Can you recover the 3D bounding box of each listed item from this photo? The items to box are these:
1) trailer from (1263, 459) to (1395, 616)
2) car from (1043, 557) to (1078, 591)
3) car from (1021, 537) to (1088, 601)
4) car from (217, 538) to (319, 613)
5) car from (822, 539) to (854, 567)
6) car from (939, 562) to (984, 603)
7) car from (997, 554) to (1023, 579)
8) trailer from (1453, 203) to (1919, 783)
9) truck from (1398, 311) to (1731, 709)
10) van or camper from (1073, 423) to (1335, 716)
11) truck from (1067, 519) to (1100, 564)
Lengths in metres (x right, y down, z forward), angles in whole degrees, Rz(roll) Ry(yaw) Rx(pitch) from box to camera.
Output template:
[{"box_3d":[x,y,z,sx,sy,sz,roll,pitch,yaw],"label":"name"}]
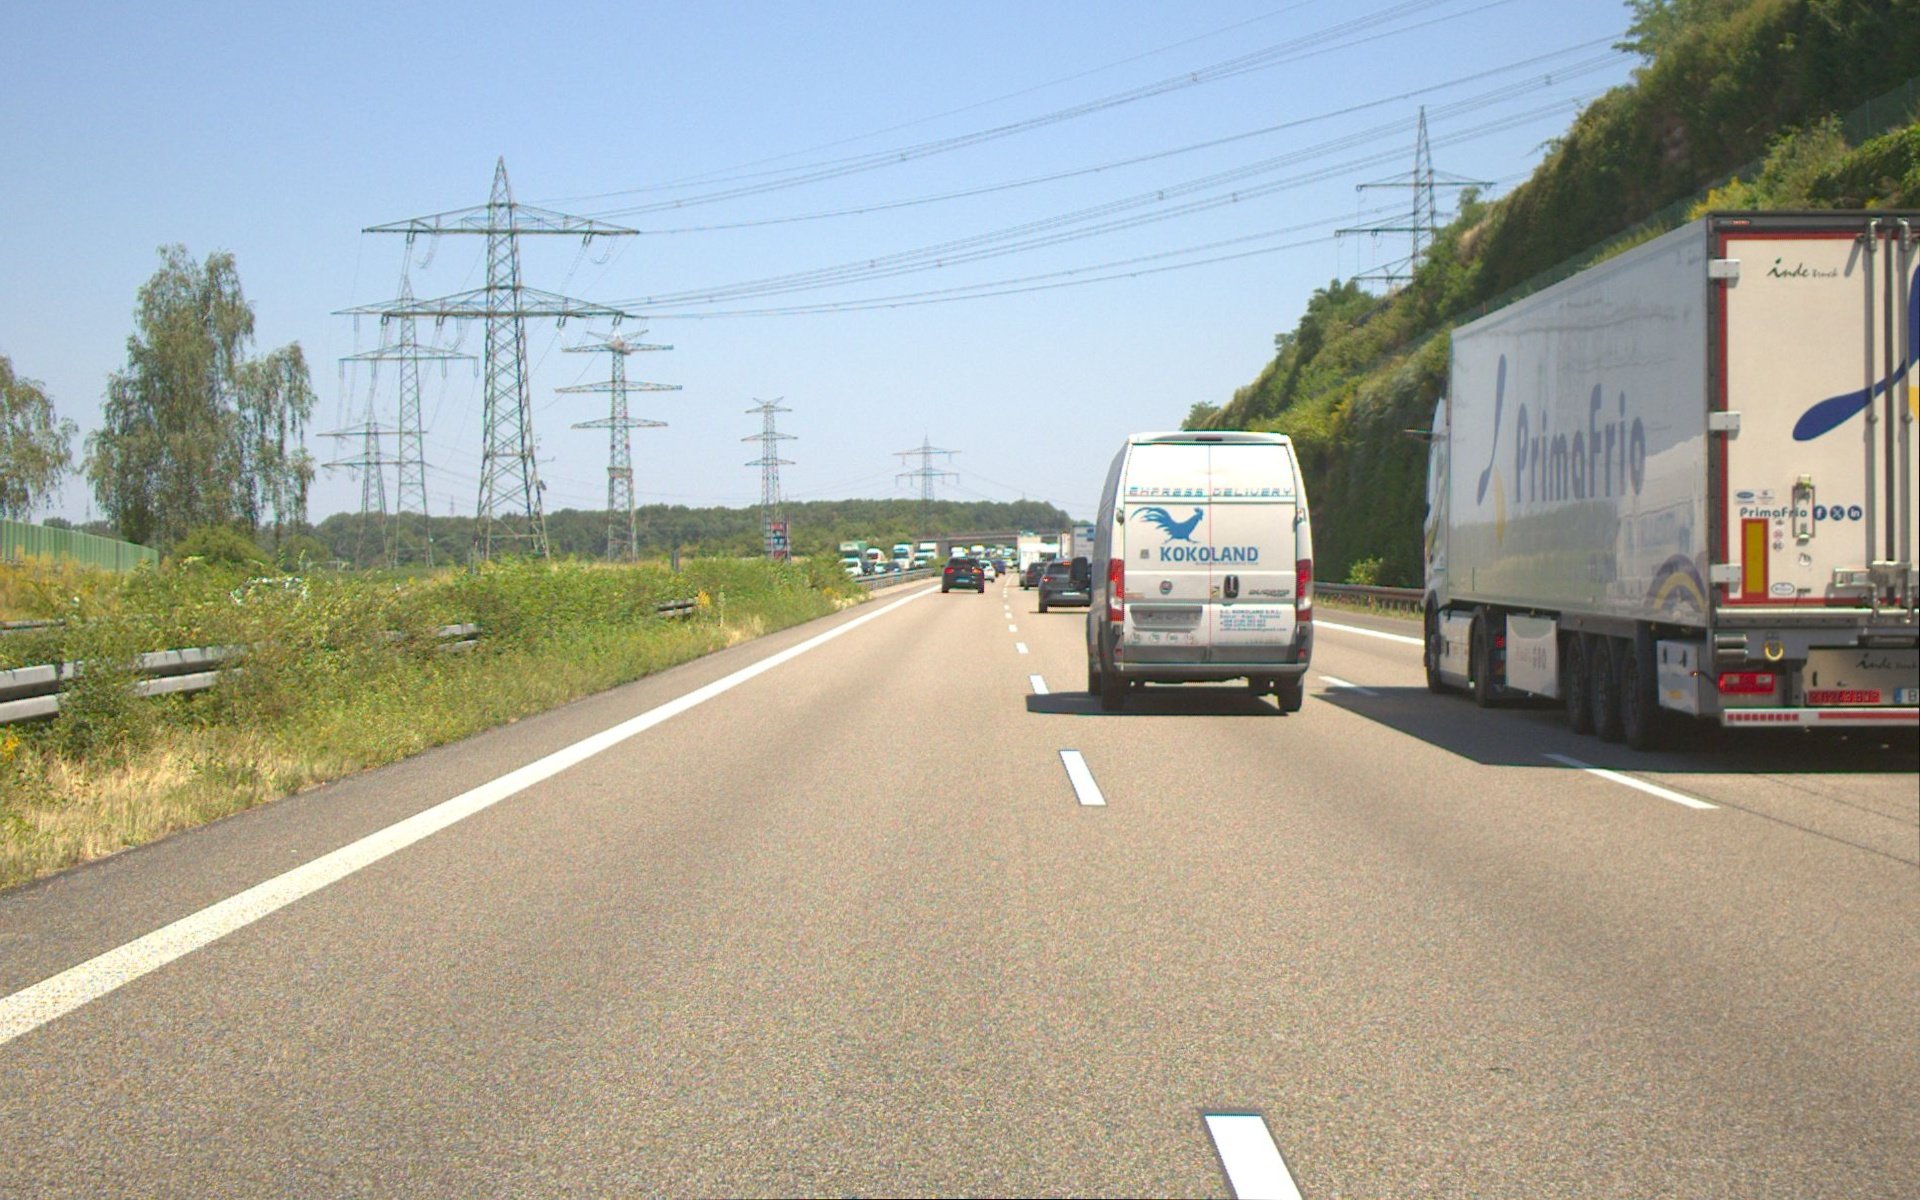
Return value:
[{"box_3d":[9.569,-1.633,89.755,2.637,3.883,7.069,1,1,0],"label":"trailer"},{"box_3d":[5.212,-1.349,178.459,1.785,1.711,3.707,1,1,1],"label":"car"},{"box_3d":[2.758,-0.941,101.303,1.795,1.811,3.801,1,1,-1],"label":"car"},{"box_3d":[-19.324,-0.712,96.208,1.967,2.001,4.403,1,1,-1],"label":"car"},{"box_3d":[-8.784,-3.384,247.937,1.967,2.001,4.403,1,1,3],"label":"car"},{"box_3d":[0.099,-0.836,161.686,1.982,1.811,3.812,1,1,1],"label":"car"},{"box_3d":[3.418,-2.286,233.361,1.699,1.656,3.707,1,1,1],"label":"car"},{"box_3d":[6.578,-0.843,30.337,2.637,4.046,12.366,1,1,0],"label":"trailer"},{"box_3d":[6.614,-0.979,38.429,2.637,4.046,5.800,1,1,0],"label":"truck"},{"box_3d":[2.438,-0.341,35.812,2.230,2.772,5.423,1,1,-1],"label":"van or camper"},{"box_3d":[9.032,-4.293,251.837,2.245,3.260,6.008,1,1,1],"label":"truck"}]
